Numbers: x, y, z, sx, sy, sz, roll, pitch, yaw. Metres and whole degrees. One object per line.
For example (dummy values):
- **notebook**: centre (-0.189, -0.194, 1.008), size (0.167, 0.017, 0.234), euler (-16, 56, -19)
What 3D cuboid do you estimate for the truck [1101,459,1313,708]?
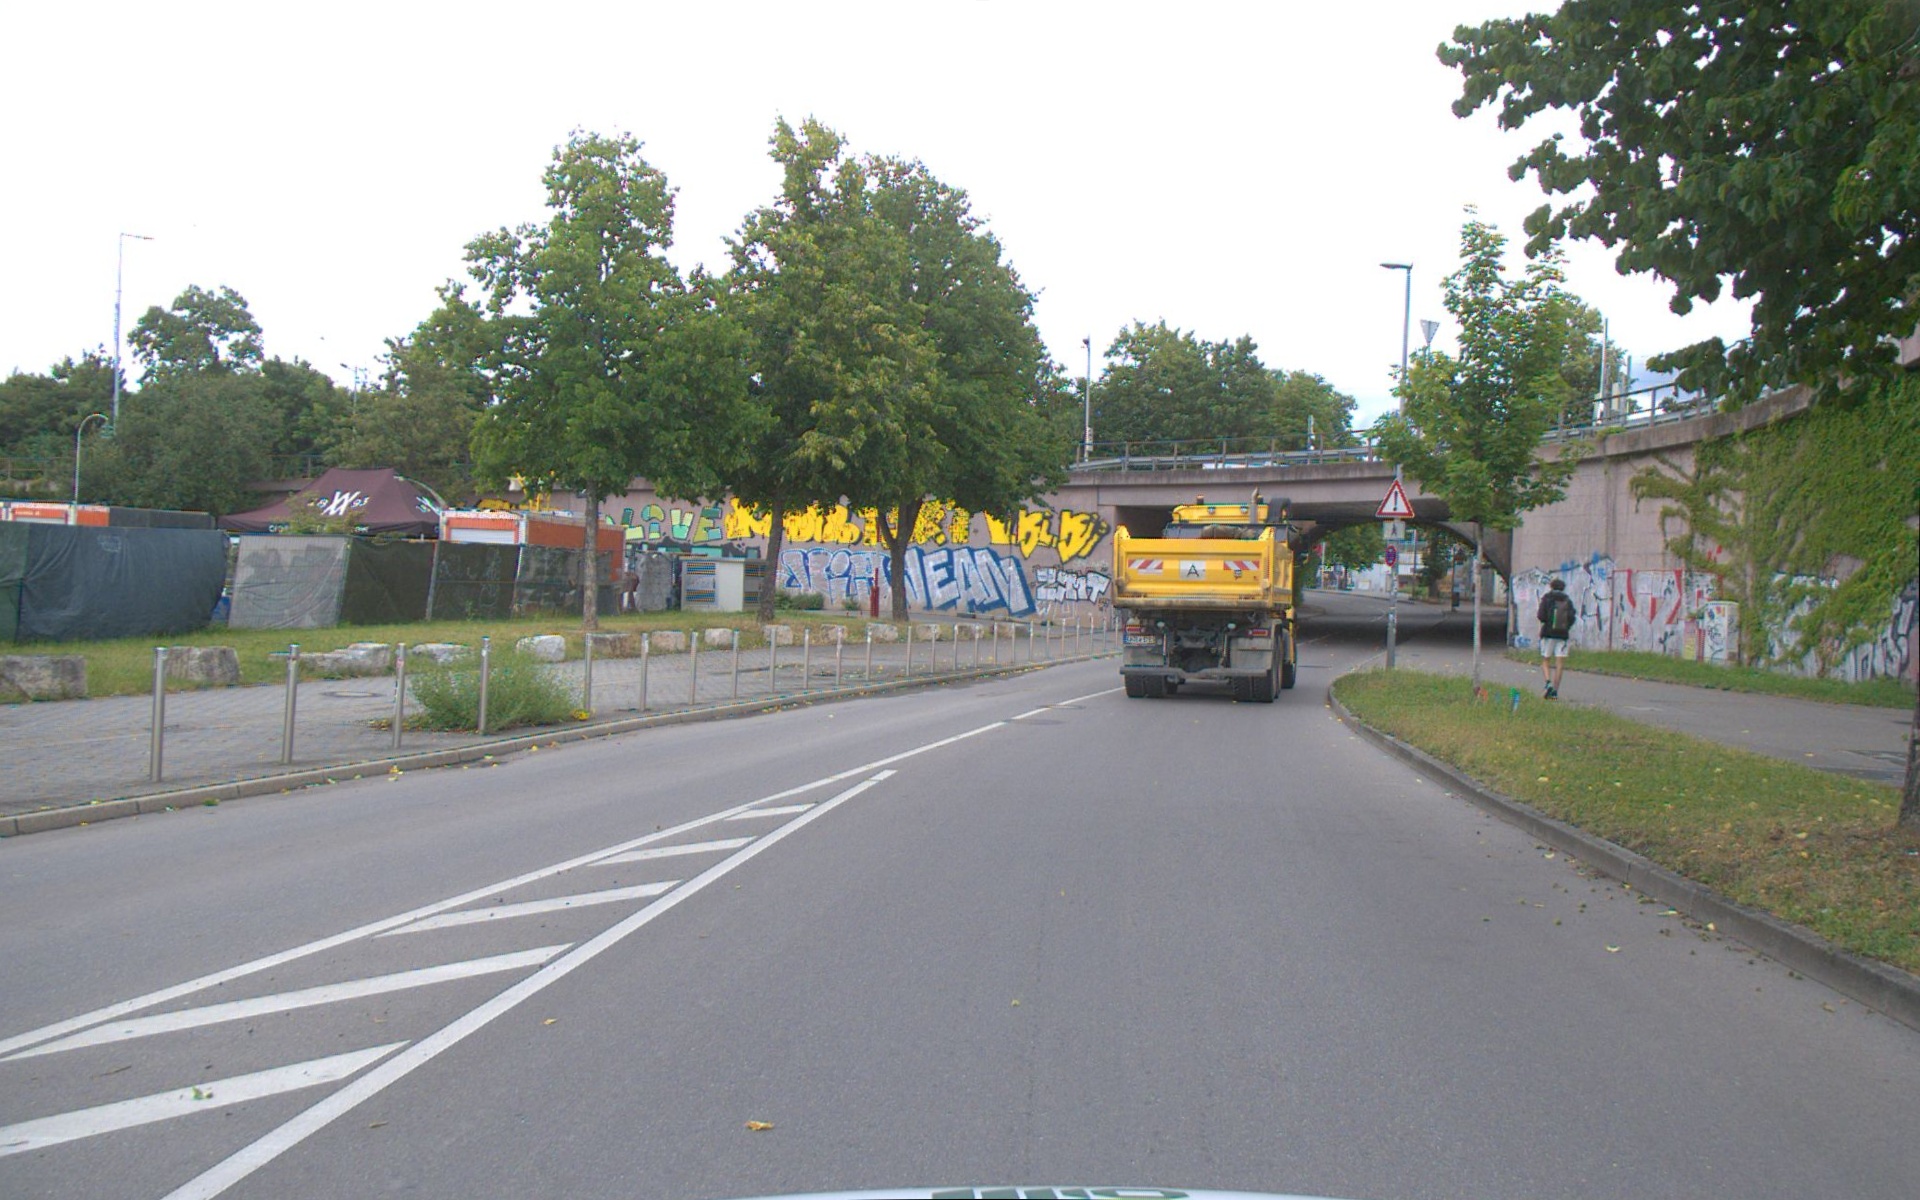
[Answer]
- **truck**: centre (4.622, -0.265, 29.463), size (2.700, 3.763, 7.885), euler (2, 0, 15)

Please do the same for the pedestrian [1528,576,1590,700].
- **pedestrian**: centre (9.641, 0.602, 26.637), size (0.719, 1.940, 0.826), euler (2, 0, 8)
